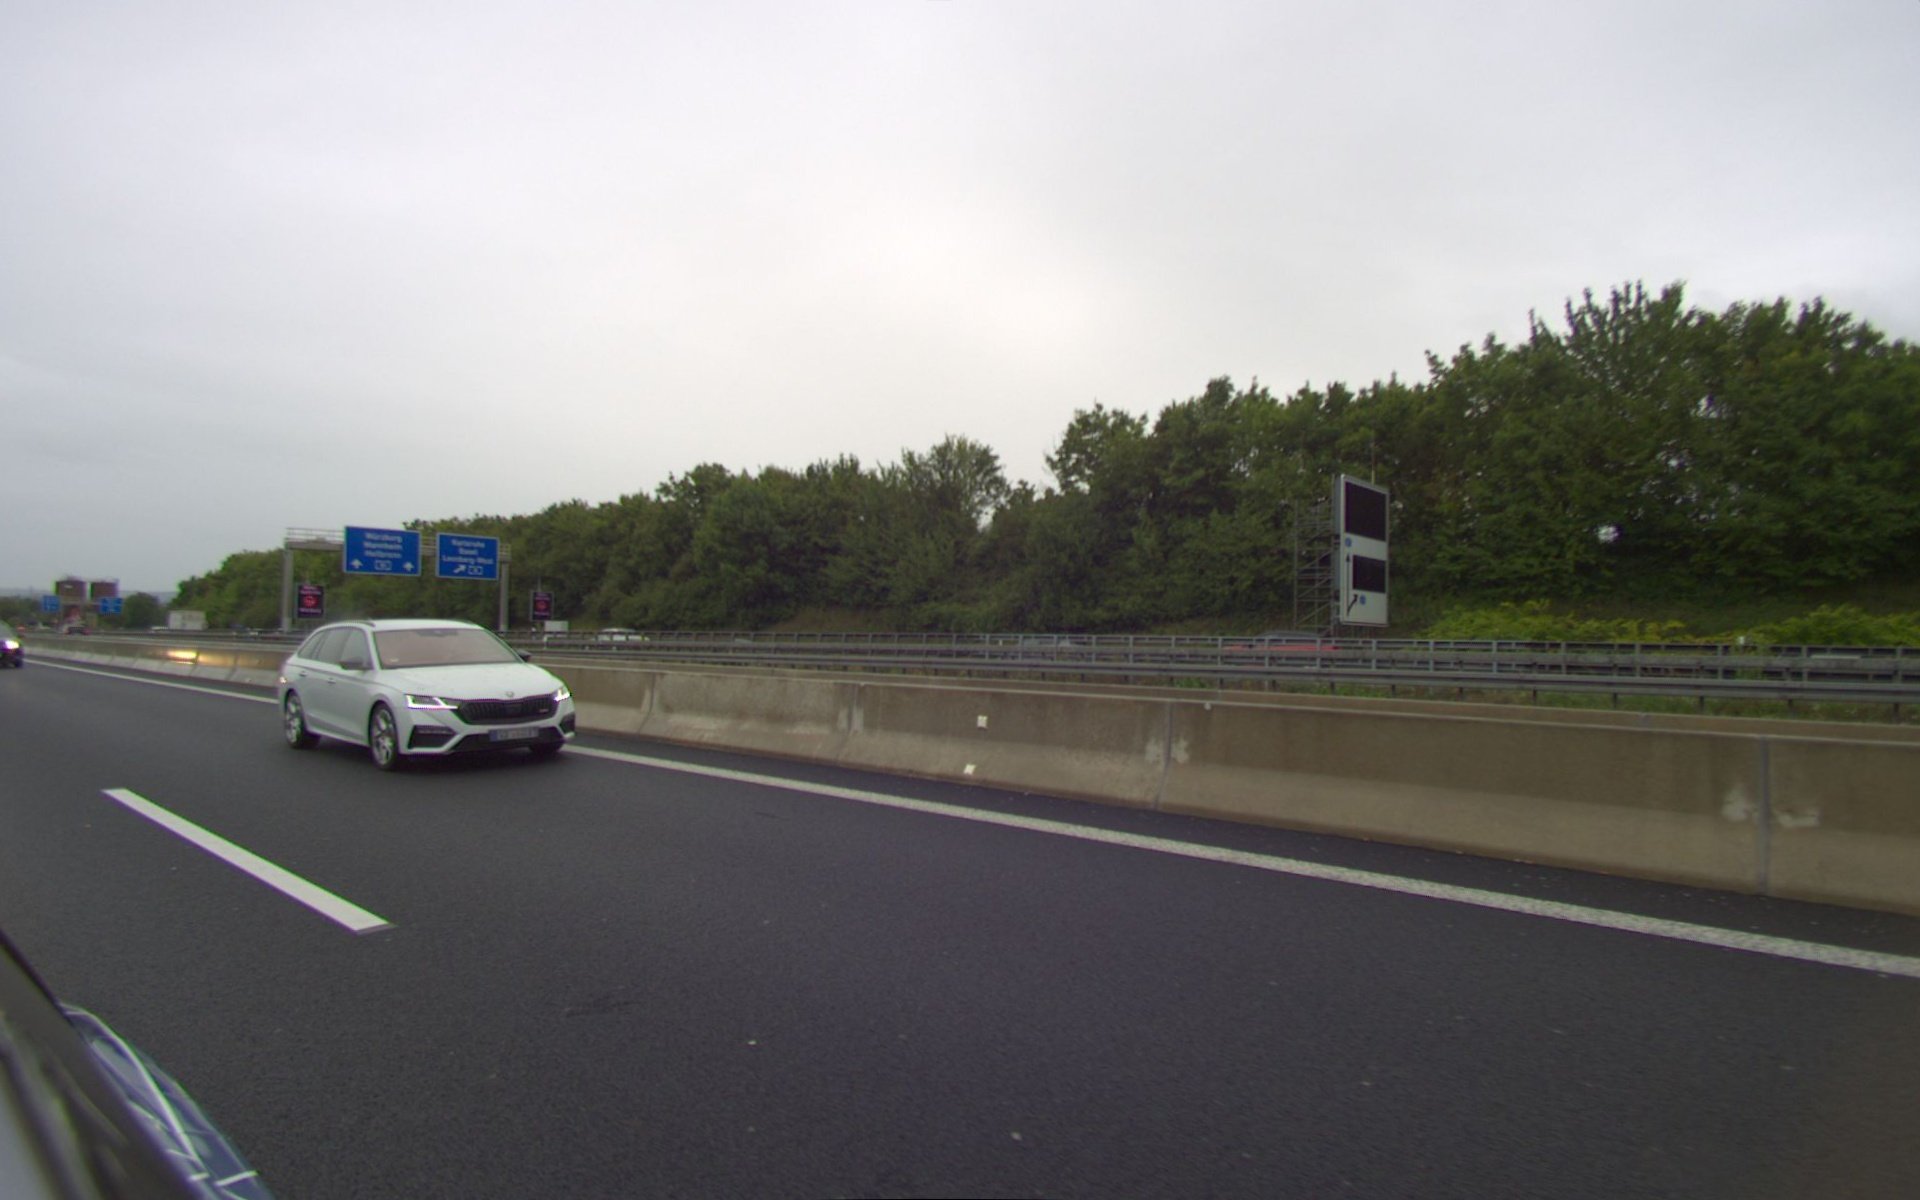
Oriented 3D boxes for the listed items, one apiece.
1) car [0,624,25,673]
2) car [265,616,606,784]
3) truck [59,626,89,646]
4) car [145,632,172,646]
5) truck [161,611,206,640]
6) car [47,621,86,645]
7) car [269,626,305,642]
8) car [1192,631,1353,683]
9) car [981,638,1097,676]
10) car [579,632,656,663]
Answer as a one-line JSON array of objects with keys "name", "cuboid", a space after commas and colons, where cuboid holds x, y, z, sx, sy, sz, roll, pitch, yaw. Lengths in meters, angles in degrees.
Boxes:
[{"name": "car", "cuboid": [-31.922, 1.551, 32.902, 4.564, 1.500, 1.704, -1, -1, 40]}, {"name": "car", "cuboid": [-5.942, 0.915, 11.159, 4.776, 1.467, 1.799, -1, -1, 42]}, {"name": "truck", "cuboid": [-154.765, 6.211, 176.765, 9.074, 3.245, 2.821, -1, -1, 41]}, {"name": "car", "cuboid": [-92.844, 4.477, 117.193, 4.630, 1.467, 1.658, -1, -1, 41]}, {"name": "truck", "cuboid": [-106.223, 3.425, 138.382, 9.630, 3.908, 3.042, -1, -1, 41]}, {"name": "car", "cuboid": [-79.167, 2.915, 89.659, 4.979, 2.029, 1.973, -1, -1, 41]}, {"name": "car", "cuboid": [-66.421, 3.313, 99.881, 4.471, 1.504, 1.800, -1, -1, 40]}, {"name": "car", "cuboid": [9.818, 1.754, 31.958, 4.559, 1.467, 1.802, -1, -1, 36]}, {"name": "car", "cuboid": [3.305, 2.377, 43.023, 4.773, 1.467, 1.800, -1, -1, 40]}, {"name": "car", "cuboid": [-17.662, 2.410, 52.055, 4.265, 1.467, 1.800, -1, -1, 40]}]
